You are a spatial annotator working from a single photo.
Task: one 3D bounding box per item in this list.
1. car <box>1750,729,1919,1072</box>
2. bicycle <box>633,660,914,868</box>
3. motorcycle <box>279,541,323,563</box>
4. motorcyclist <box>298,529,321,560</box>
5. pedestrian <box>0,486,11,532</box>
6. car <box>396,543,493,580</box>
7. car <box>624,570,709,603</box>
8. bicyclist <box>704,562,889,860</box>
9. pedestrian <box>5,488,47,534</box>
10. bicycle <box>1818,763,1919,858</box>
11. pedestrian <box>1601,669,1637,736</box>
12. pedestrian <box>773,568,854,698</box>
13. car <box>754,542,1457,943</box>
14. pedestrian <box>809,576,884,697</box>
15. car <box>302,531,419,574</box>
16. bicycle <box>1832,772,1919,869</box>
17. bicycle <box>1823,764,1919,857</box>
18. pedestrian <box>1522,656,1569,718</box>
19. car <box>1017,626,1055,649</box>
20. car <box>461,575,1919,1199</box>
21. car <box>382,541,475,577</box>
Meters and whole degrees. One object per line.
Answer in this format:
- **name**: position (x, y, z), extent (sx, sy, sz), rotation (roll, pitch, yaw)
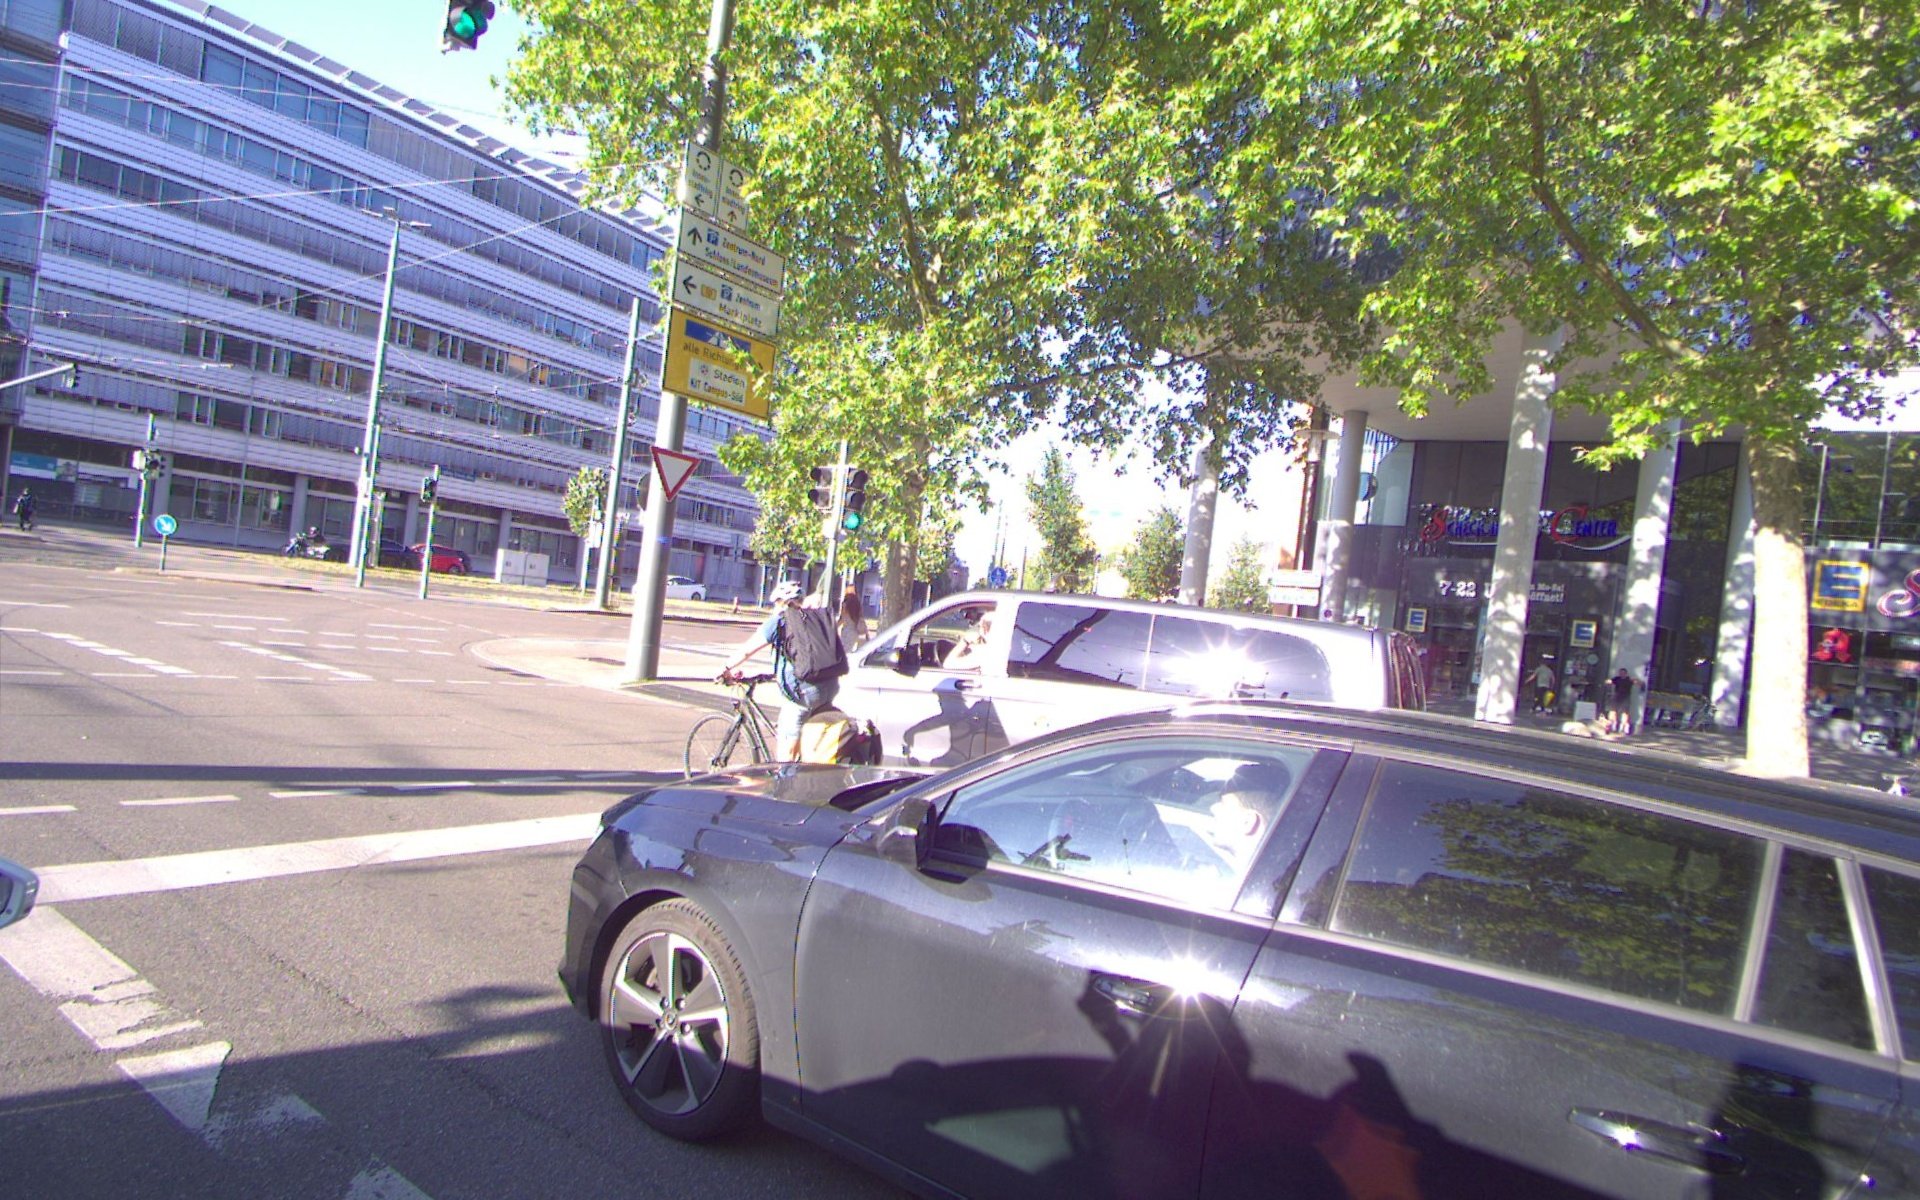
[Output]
- **car**: position (6.503, 1.724, 4.630), extent (4.181, 1.503, 1.741), rotation (7, 0, 31)
- **bicycle**: position (-1.265, 1.014, 6.638), extent (1.839, 0.993, 0.561), rotation (7, 1, 32)
- **motorcycle**: position (-30.322, -2.207, 46.293), extent (0.460, 0.820, 1.568), rotation (7, 0, 36)
- **motorcyclist**: position (-30.064, -2.558, 46.496), extent (0.452, 1.291, 0.712), rotation (7, 1, 36)
- **pedestrian**: position (-36.991, -3.533, 38.362), extent (1.019, 1.706, 0.912), rotation (7, 1, 36)
- **car**: position (-26.418, -1.958, 51.639), extent (1.758, 1.411, 3.984), rotation (7, 1, 37)
- **car**: position (-17.367, -0.786, 59.745), extent (1.758, 1.353, 4.605), rotation (7, 0, 37)
- **bicyclist**: position (-1.038, 0.675, 6.435), extent (0.766, 1.714, 0.632), rotation (7, 1, 32)
- **pedestrian**: position (-36.192, -3.442, 38.986), extent (0.883, 1.583, 0.948), rotation (7, 1, 37)
- **bicycle**: position (11.193, 2.543, 12.083), extent (0.437, 0.930, 1.210), rotation (6, 0, -39)
- **pedestrian**: position (17.535, 2.732, 26.768), extent (0.598, 1.707, 0.511), rotation (6, 1, -41)
- **pedestrian**: position (-2.250, 0.505, 15.432), extent (0.800, 1.868, 0.642), rotation (7, 1, 30)
- **car**: position (0.989, 0.828, 8.009), extent (5.012, 2.004, 1.939), rotation (7, 0, 31)
- **pedestrian**: position (-1.802, 0.584, 16.027), extent (0.751, 1.799, 0.648), rotation (7, 1, 27)
- **car**: position (-27.239, -2.135, 45.797), extent (1.758, 1.415, 4.157), rotation (7, 0, 37)
- **bicycle**: position (10.535, 2.477, 11.097), extent (1.233, 0.898, 0.462), rotation (7, 1, 32)
- **bicycle**: position (11.491, 2.605, 12.356), extent (0.460, 0.938, 1.210), rotation (6, 0, -39)
- **pedestrian**: position (17.445, 2.582, 29.974), extent (0.705, 1.728, 0.805), rotation (7, 1, -6)
- **car**: position (7.320, 3.607, 96.503), extent (1.767, 1.725, 3.993), rotation (6, -2, 34)
- **car**: position (0.763, 0.928, 2.753), extent (4.199, 1.431, 1.742), rotation (7, -2, 32)
- **car**: position (-29.662, -2.266, 56.248), extent (1.758, 1.415, 4.157), rotation (7, 0, 37)
